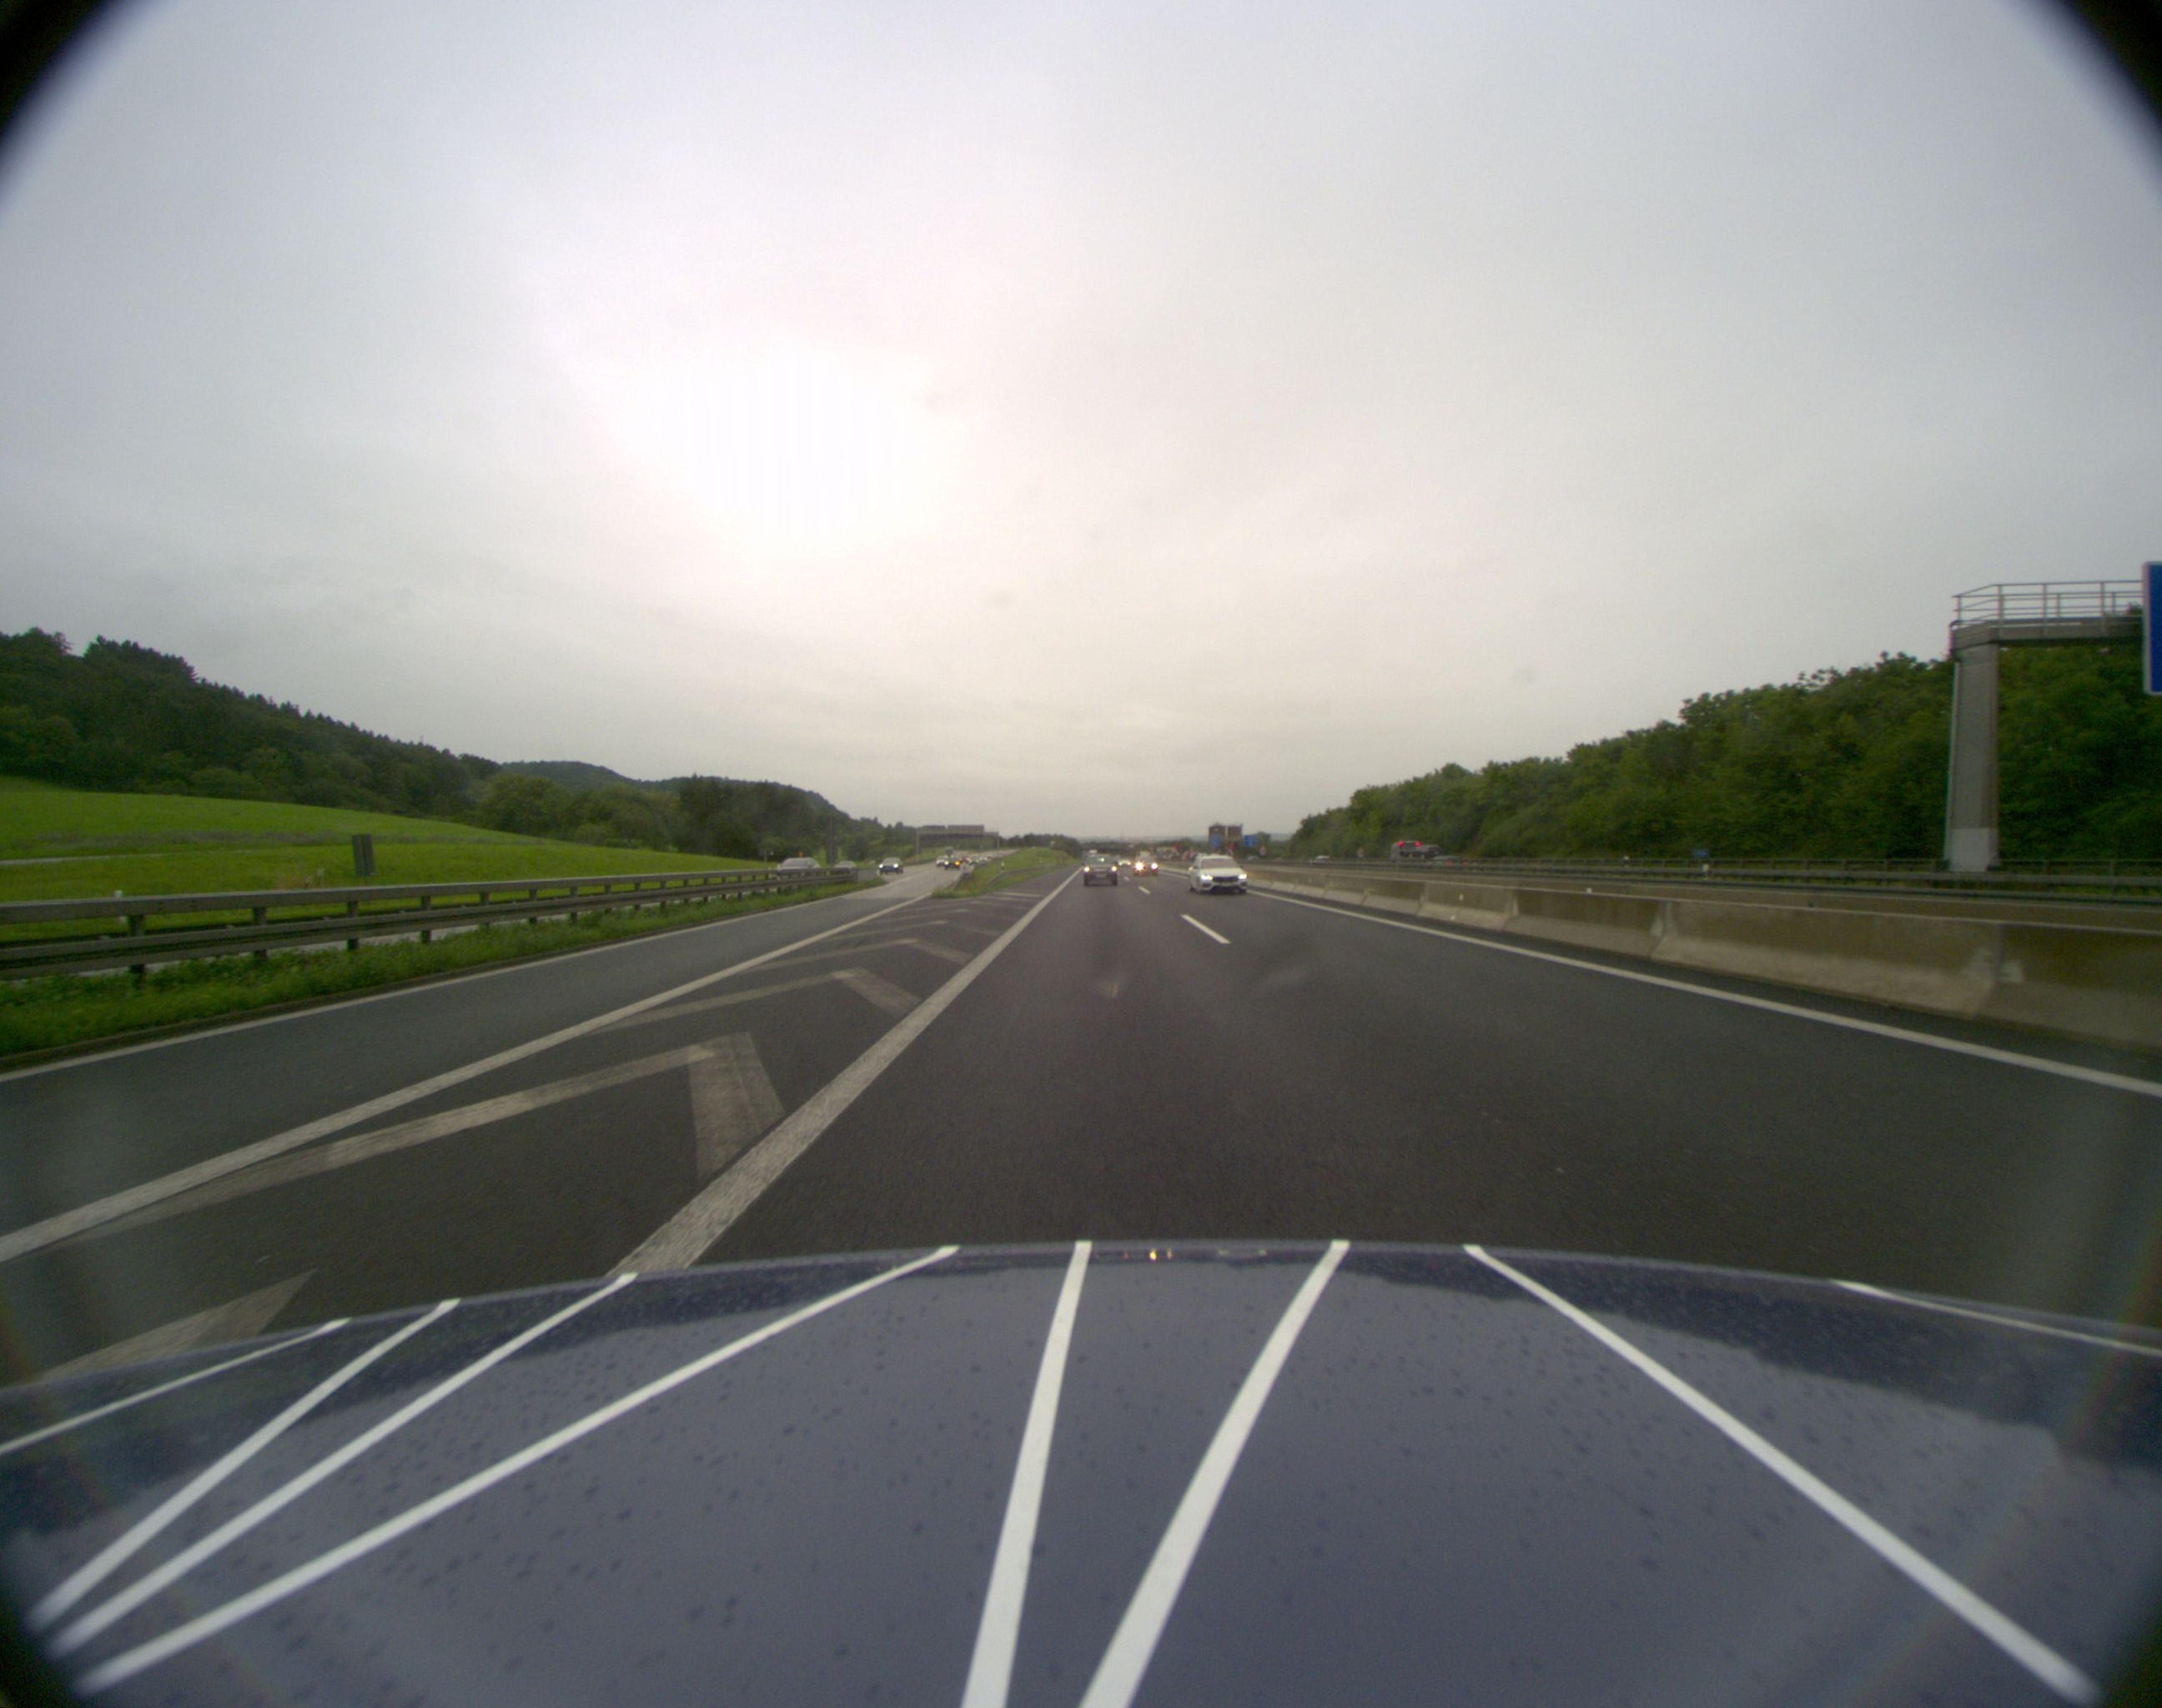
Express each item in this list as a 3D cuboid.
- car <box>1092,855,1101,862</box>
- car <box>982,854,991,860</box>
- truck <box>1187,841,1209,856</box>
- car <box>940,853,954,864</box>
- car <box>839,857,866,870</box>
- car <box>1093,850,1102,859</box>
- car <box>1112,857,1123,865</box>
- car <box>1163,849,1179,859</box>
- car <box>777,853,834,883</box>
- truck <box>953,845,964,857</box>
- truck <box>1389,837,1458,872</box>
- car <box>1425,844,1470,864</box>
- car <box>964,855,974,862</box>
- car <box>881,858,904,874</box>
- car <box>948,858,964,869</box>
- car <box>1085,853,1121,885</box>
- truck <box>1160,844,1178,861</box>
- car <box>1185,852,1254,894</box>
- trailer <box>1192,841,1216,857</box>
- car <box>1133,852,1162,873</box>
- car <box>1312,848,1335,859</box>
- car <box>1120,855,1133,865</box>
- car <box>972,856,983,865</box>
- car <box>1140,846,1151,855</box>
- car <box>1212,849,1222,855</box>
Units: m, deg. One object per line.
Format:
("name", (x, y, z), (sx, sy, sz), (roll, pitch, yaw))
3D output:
("car", (3.624, 0.965, 176.690), (1.919, 1.481, 4.566), (-2, 1, 0))
("car", (-25.693, 0.848, 206.667), (1.914, 1.684, 4.716), (-2, 1, -4))
("truck", (19.345, -0.896, 126.196), (2.582, 2.327, 7.341), (-2, 1, 1))
("car", (-23.169, 0.729, 131.392), (1.914, 1.684, 4.716), (-2, 1, -5))
("car", (-26.200, 1.068, 87.144), (1.904, 1.446, 4.708), (-2, 1, -4))
("car", (3.901, 0.112, 182.510), (2.016, 1.994, 4.566), (-2, 1, 0))
("car", (7.093, 1.416, 148.518), (1.726, 1.481, 4.566), (-2, 1, 0))
("car", (14.752, -0.007, 124.609), (1.874, 1.672, 4.777), (-2, 1, 0))
("car", (-16.311, 0.777, 45.183), (1.774, 1.600, 4.642), (-2, 1, -2))
("truck", (-41.217, -1.039, 255.028), (2.800, 3.878, 10.022), (-2, 1, -5))
("truck", (33.677, 0.003, 75.216), (2.858, 3.202, 9.078), (-2, 1, 1))
("car", (29.023, -0.042, 60.252), (1.680, 1.448, 4.000), (-2, 1, 1))
("car", (-26.369, 1.020, 178.662), (1.914, 1.684, 4.716), (-2, 1, -4))
("car", (-18.678, 1.174, 75.480), (1.672, 1.375, 4.123), (-2, 1, -7))
("car", (-16.803, 1.297, 102.446), (1.868, 1.349, 4.564), (-2, 1, -7))
("car", (1.186, 0.791, 41.217), (1.812, 1.571, 3.835), (-2, 1, 2))
("truck", (21.229, -0.440, 184.297), (2.933, 3.855, 16.089), (-2, 1, 1))
("car", (5.400, 0.711, 30.302), (1.823, 1.448, 4.777), (-2, 1, 0))
("trailer", (19.150, -0.819, 118.640), (2.582, 2.327, 7.946), (-2, 1, 1))
("car", (5.114, 0.635, 58.947), (1.726, 1.481, 4.566), (-2, 1, 0))
("car", (34.602, -0.079, 108.582), (1.662, 1.572, 4.777), (-2, 1, 0))
("car", (6.872, 0.874, 114.714), (1.725, 1.481, 4.567), (-2, 1, 1))
("car", (-21.361, 1.392, 157.184), (1.914, 1.684, 4.716), (-2, 1, -4))
("car", (16.599, -0.887, 195.506), (2.135, 2.309, 5.692), (-2, 1, 0))
("car", (37.091, -0.624, 206.948), (1.823, 1.448, 4.777), (-2, 1, 0))
